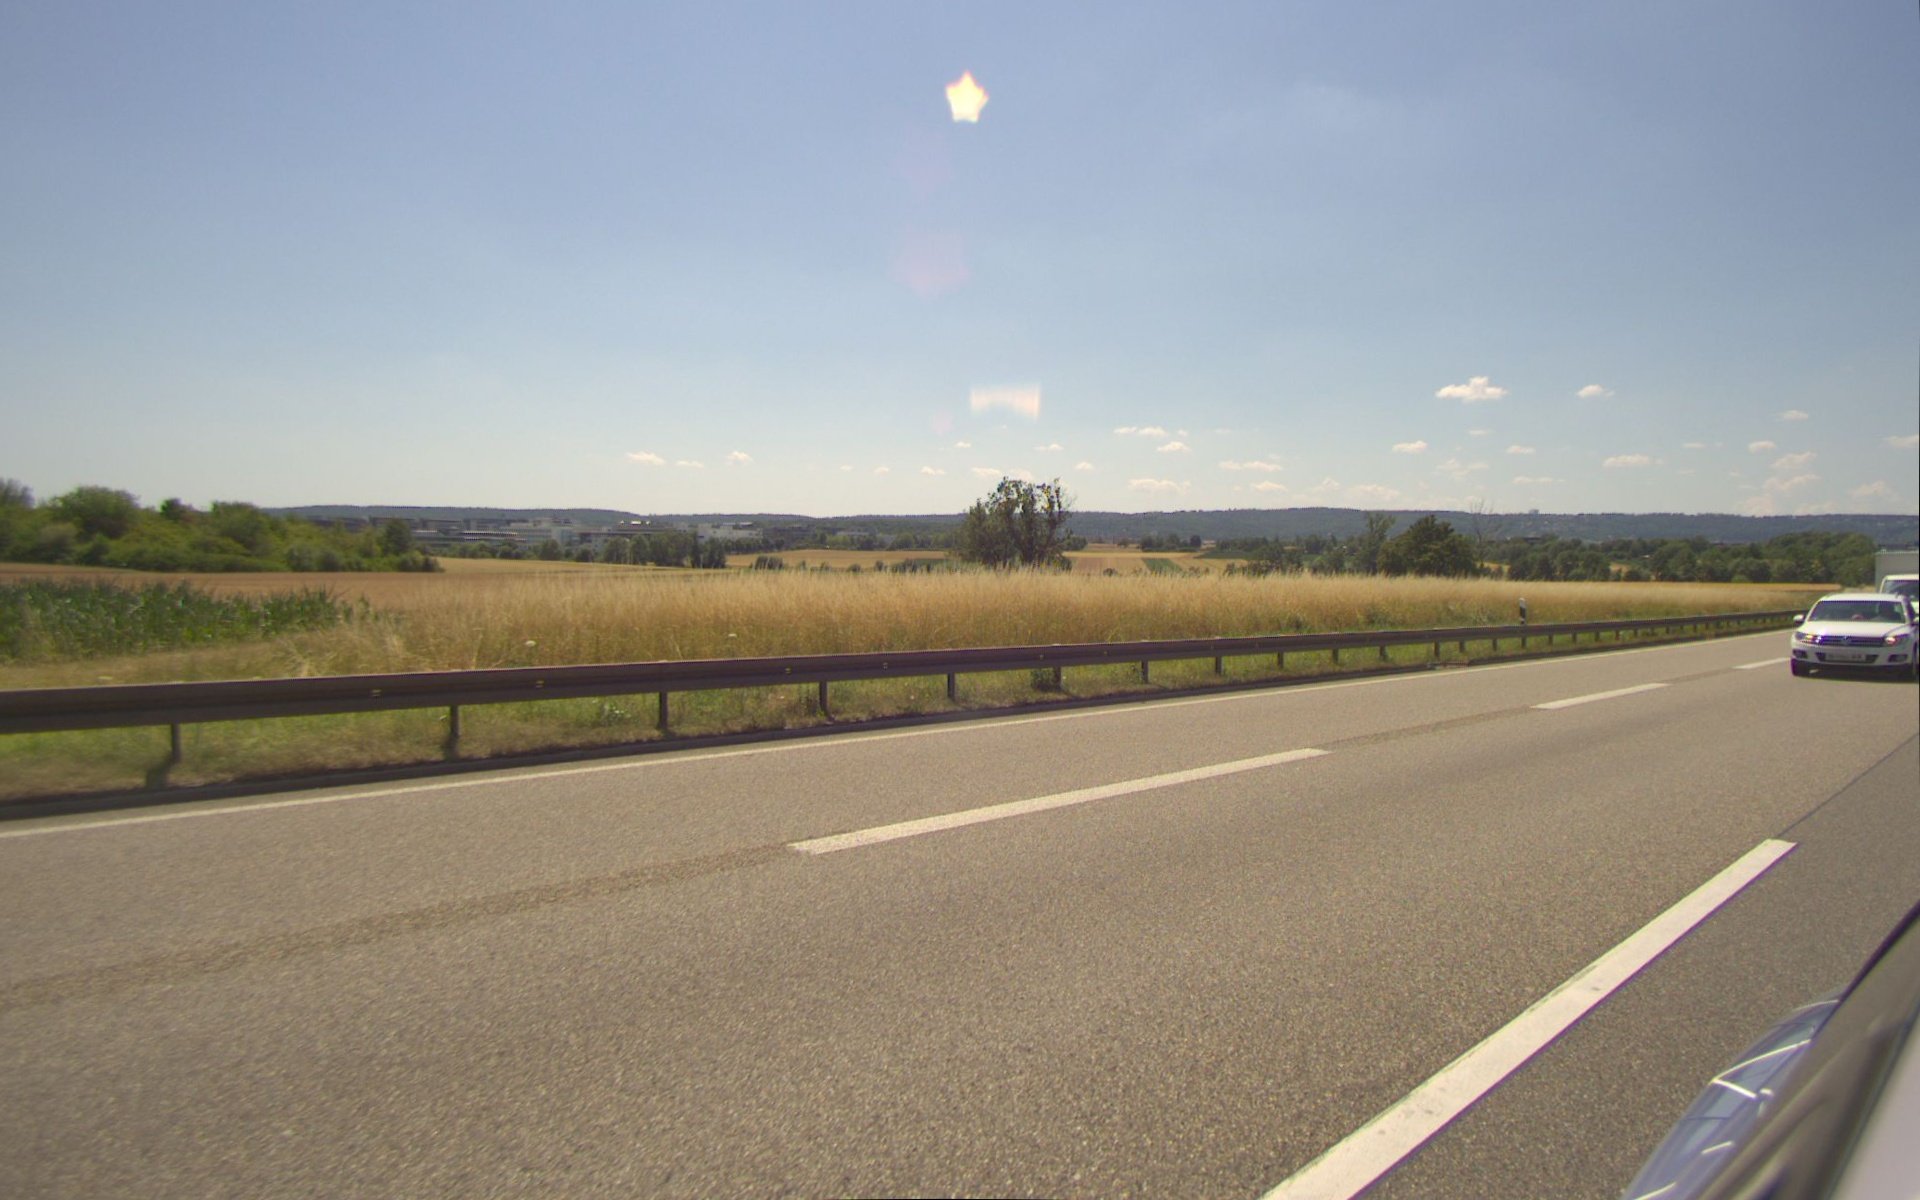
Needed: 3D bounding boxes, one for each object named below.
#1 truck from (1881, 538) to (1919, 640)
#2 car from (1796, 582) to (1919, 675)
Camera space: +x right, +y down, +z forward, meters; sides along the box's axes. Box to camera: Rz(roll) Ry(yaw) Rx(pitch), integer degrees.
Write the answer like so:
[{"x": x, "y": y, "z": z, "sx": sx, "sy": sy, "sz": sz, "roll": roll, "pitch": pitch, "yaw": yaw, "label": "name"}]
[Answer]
[{"x": 31.755, "y": -0.364, "z": 32.790, "sx": 6.803, "sy": 3.066, "sz": 2.440, "roll": -1, "pitch": 1, "yaw": -44, "label": "truck"}, {"x": 18.147, "y": 0.500, "z": 20.118, "sx": 4.102, "sy": 1.666, "sz": 1.834, "roll": 0, "pitch": 0, "yaw": -43, "label": "car"}]
